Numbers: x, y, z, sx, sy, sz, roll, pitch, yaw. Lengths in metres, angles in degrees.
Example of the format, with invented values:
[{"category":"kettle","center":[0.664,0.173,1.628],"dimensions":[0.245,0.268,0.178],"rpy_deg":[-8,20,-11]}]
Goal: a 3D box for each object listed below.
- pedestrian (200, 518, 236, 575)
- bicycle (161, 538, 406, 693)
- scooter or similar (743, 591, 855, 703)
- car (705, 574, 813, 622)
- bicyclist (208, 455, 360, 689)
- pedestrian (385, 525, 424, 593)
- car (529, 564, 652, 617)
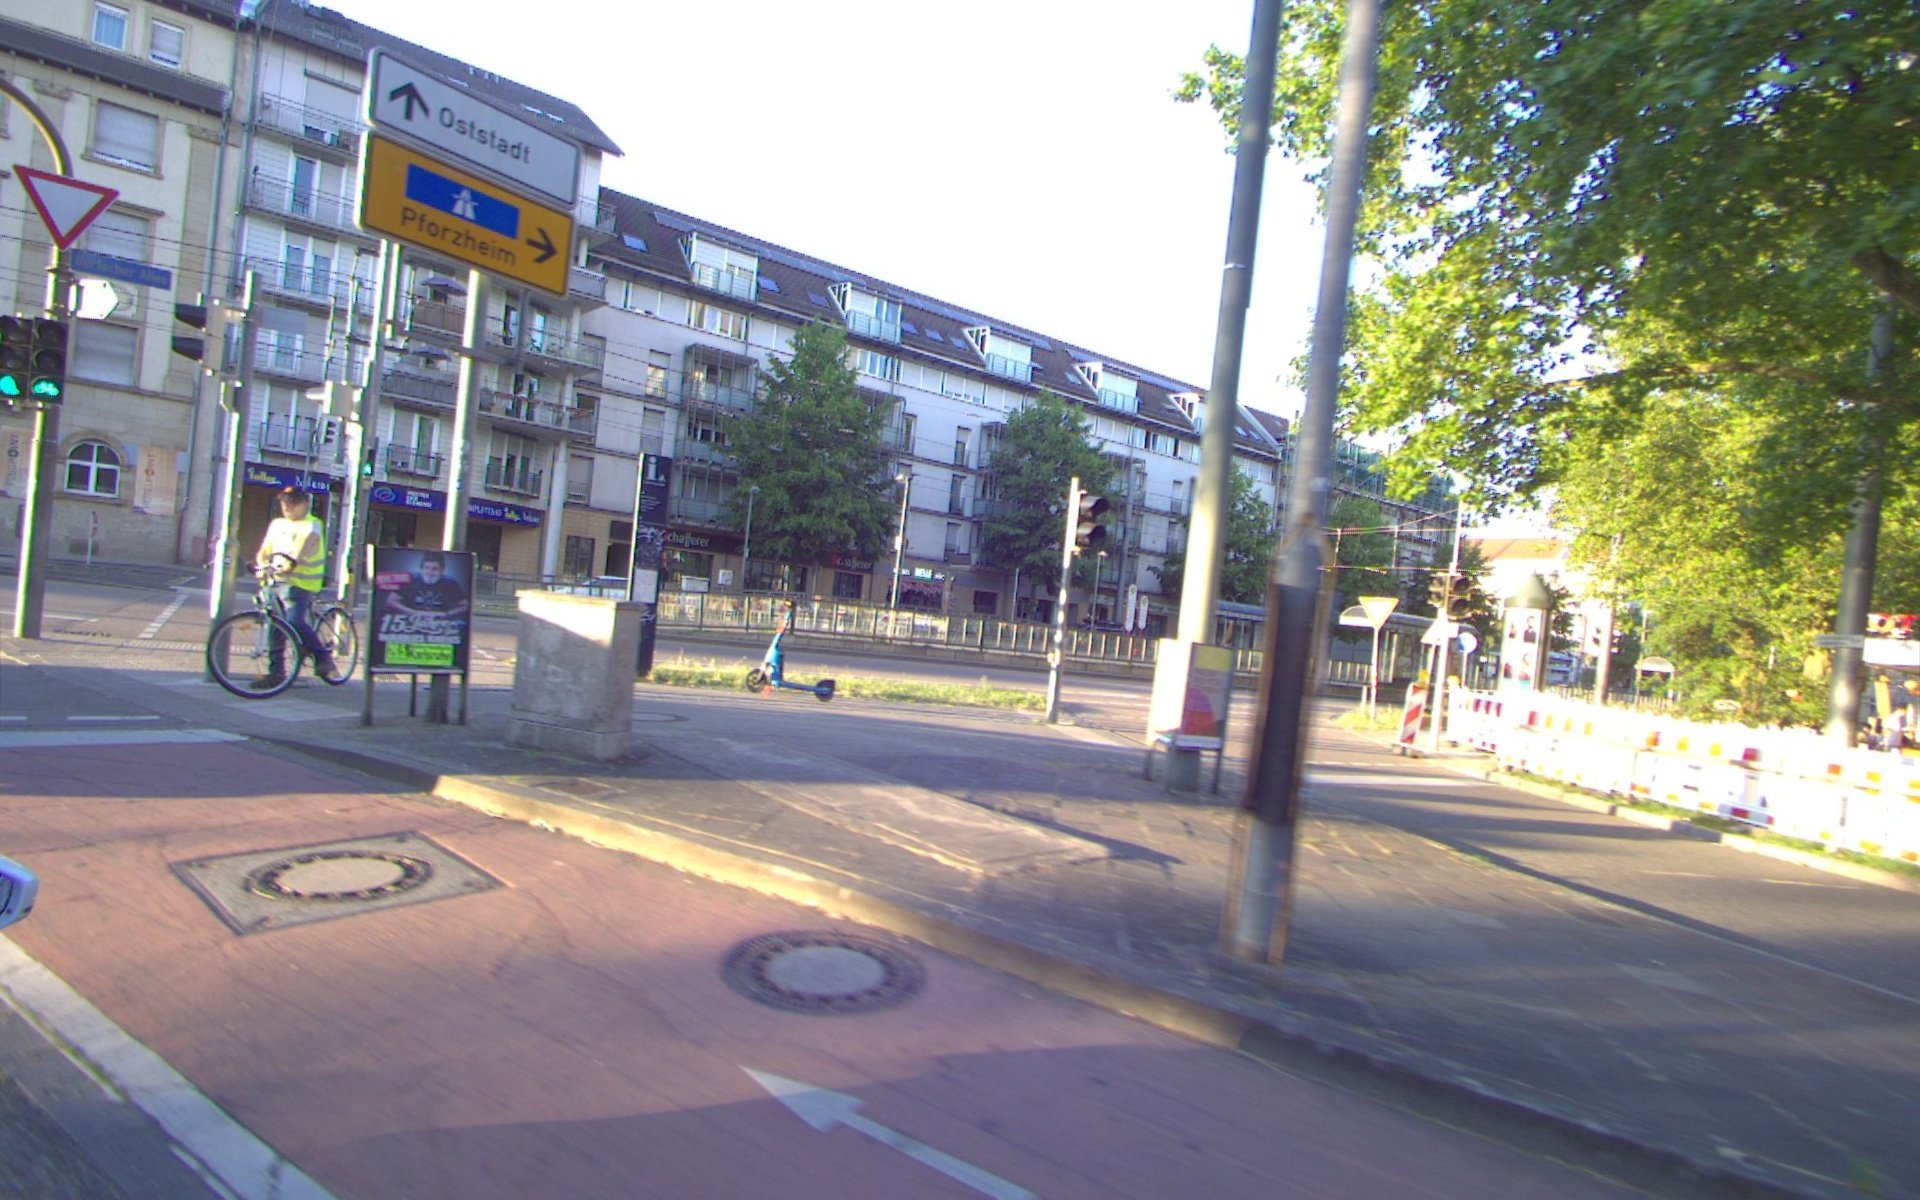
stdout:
[{"category":"pedestrian","center":[-25.002,-1.795,33.914],"dimensions":[0.781,1.800,0.539],"rpy_deg":[7,-1,-33]},{"category":"bicycle","center":[-5.756,0.150,8.744],"dimensions":[0.616,1.122,2.073],"rpy_deg":[6,-2,0]},{"category":"scooter or similar","center":[-2.038,0.593,12.736],"dimensions":[1.216,1.264,0.513],"rpy_deg":[7,-1,-19]},{"category":"car","center":[-8.387,-0.055,42.110],"dimensions":[3.968,1.503,1.831],"rpy_deg":[8,-2,-38]},{"category":"bicyclist","center":[-5.715,-0.218,8.544],"dimensions":[0.616,1.846,0.699],"rpy_deg":[6,-1,0]},{"category":"pedestrian","center":[-19.477,-1.436,35.277],"dimensions":[0.864,2.235,0.812],"rpy_deg":[7,-1,-38]},{"category":"car","center":[-13.983,-0.347,38.126],"dimensions":[3.962,1.503,1.833],"rpy_deg":[8,-2,-34]}]
